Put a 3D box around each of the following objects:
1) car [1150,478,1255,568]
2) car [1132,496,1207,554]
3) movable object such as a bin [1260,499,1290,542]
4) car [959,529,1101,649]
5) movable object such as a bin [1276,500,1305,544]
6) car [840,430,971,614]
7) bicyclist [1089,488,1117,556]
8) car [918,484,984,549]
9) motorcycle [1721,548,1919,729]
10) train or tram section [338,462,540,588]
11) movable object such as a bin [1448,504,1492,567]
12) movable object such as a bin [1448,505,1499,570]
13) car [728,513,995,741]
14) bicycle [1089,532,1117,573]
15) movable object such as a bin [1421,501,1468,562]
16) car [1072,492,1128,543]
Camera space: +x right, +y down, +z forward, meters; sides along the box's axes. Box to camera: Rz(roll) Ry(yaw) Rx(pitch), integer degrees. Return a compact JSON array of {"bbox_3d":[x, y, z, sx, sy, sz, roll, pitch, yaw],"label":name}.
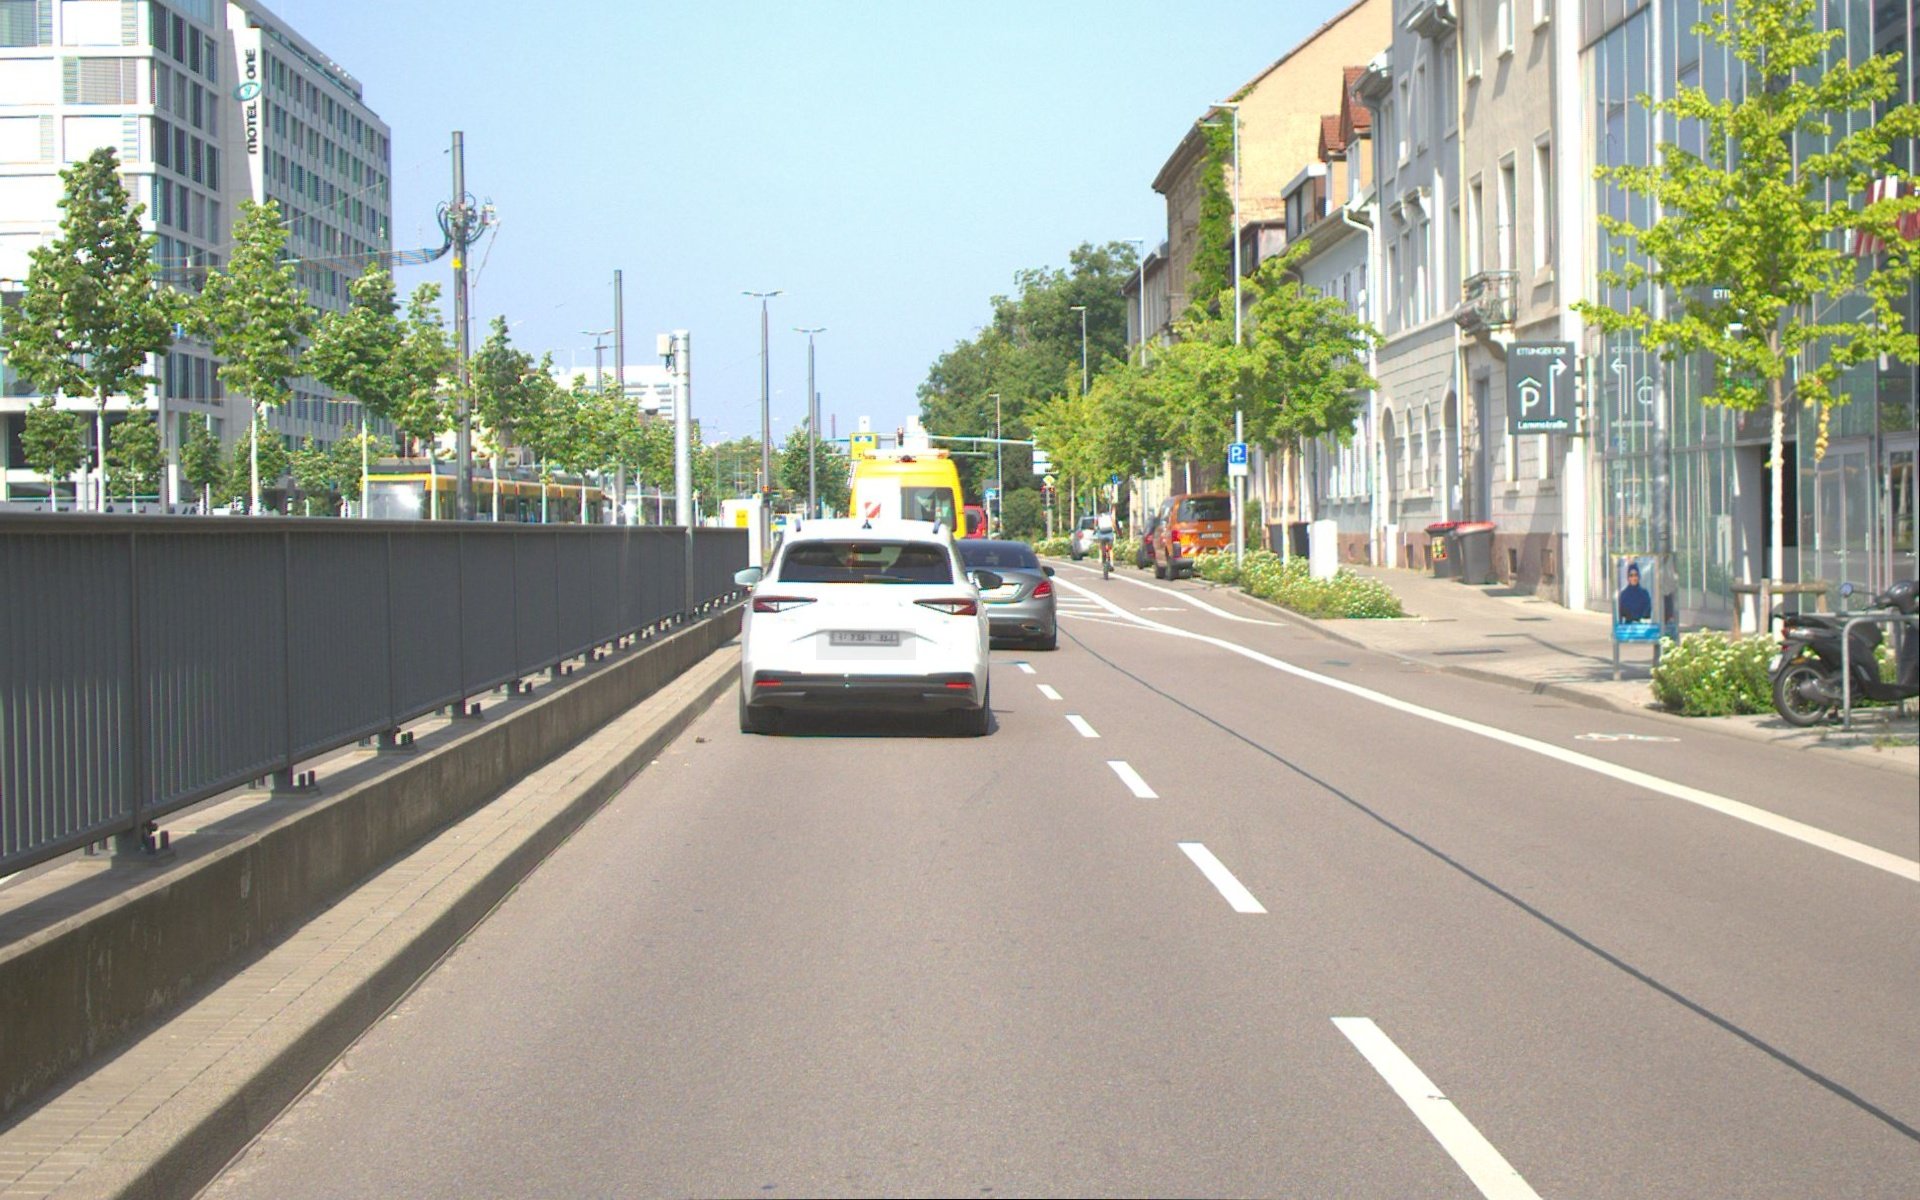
[{"bbox_3d":[5.678,-1.838,81.039,2.063,2.006,4.589,-1,2,-1],"label":"car"},{"bbox_3d":[5.721,-2.055,94.183,1.673,1.478,4.313,-2,1,-1],"label":"car"},{"bbox_3d":[8.875,-2.231,96.823,0.740,1.196,0.773,0,2,-1],"label":"movable object such as a bin"},{"bbox_3d":[0.882,-0.180,45.434,1.760,1.431,4.115,1,2,0],"label":"car"},{"bbox_3d":[9.014,-2.124,93.793,0.679,1.196,0.781,0,2,-1],"label":"movable object such as a bin"},{"bbox_3d":[-0.866,-1.354,56.559,2.020,2.786,5.402,-1,4,0],"label":"car"},{"bbox_3d":[3.360,-1.842,81.036,0.639,1.571,0.771,0,2,2],"label":"bicyclist"},{"bbox_3d":[-0.297,-2.656,109.116,1.993,2.007,4.000,1,1,-1],"label":"car"},{"bbox_3d":[7.069,0.282,26.914,1.968,1.345,0.868,-1,1,-11],"label":"motorcycle"},{"bbox_3d":[-16.417,-2.405,110.030,2.906,3.663,18.136,1,1,2],"label":"train or tram section"},{"bbox_3d":[9.519,-1.208,64.145,0.704,1.148,0.671,0,4,-1],"label":"movable object such as a bin"},{"bbox_3d":[9.431,-1.155,63.175,0.781,1.168,0.808,0,4,-1],"label":"movable object such as a bin"},{"bbox_3d":[-0.711,0.144,26.316,1.870,1.569,4.000,-1,2,0],"label":"car"},{"bbox_3d":[3.370,-1.122,81.124,0.655,0.935,1.517,0,2,2],"label":"bicycle"},{"bbox_3d":[9.377,-1.326,66.594,0.669,1.148,0.617,-4,5,-44],"label":"movable object such as a bin"},{"bbox_3d":[5.052,-3.014,124.670,1.812,1.806,3.836,0,2,-1],"label":"car"}]
